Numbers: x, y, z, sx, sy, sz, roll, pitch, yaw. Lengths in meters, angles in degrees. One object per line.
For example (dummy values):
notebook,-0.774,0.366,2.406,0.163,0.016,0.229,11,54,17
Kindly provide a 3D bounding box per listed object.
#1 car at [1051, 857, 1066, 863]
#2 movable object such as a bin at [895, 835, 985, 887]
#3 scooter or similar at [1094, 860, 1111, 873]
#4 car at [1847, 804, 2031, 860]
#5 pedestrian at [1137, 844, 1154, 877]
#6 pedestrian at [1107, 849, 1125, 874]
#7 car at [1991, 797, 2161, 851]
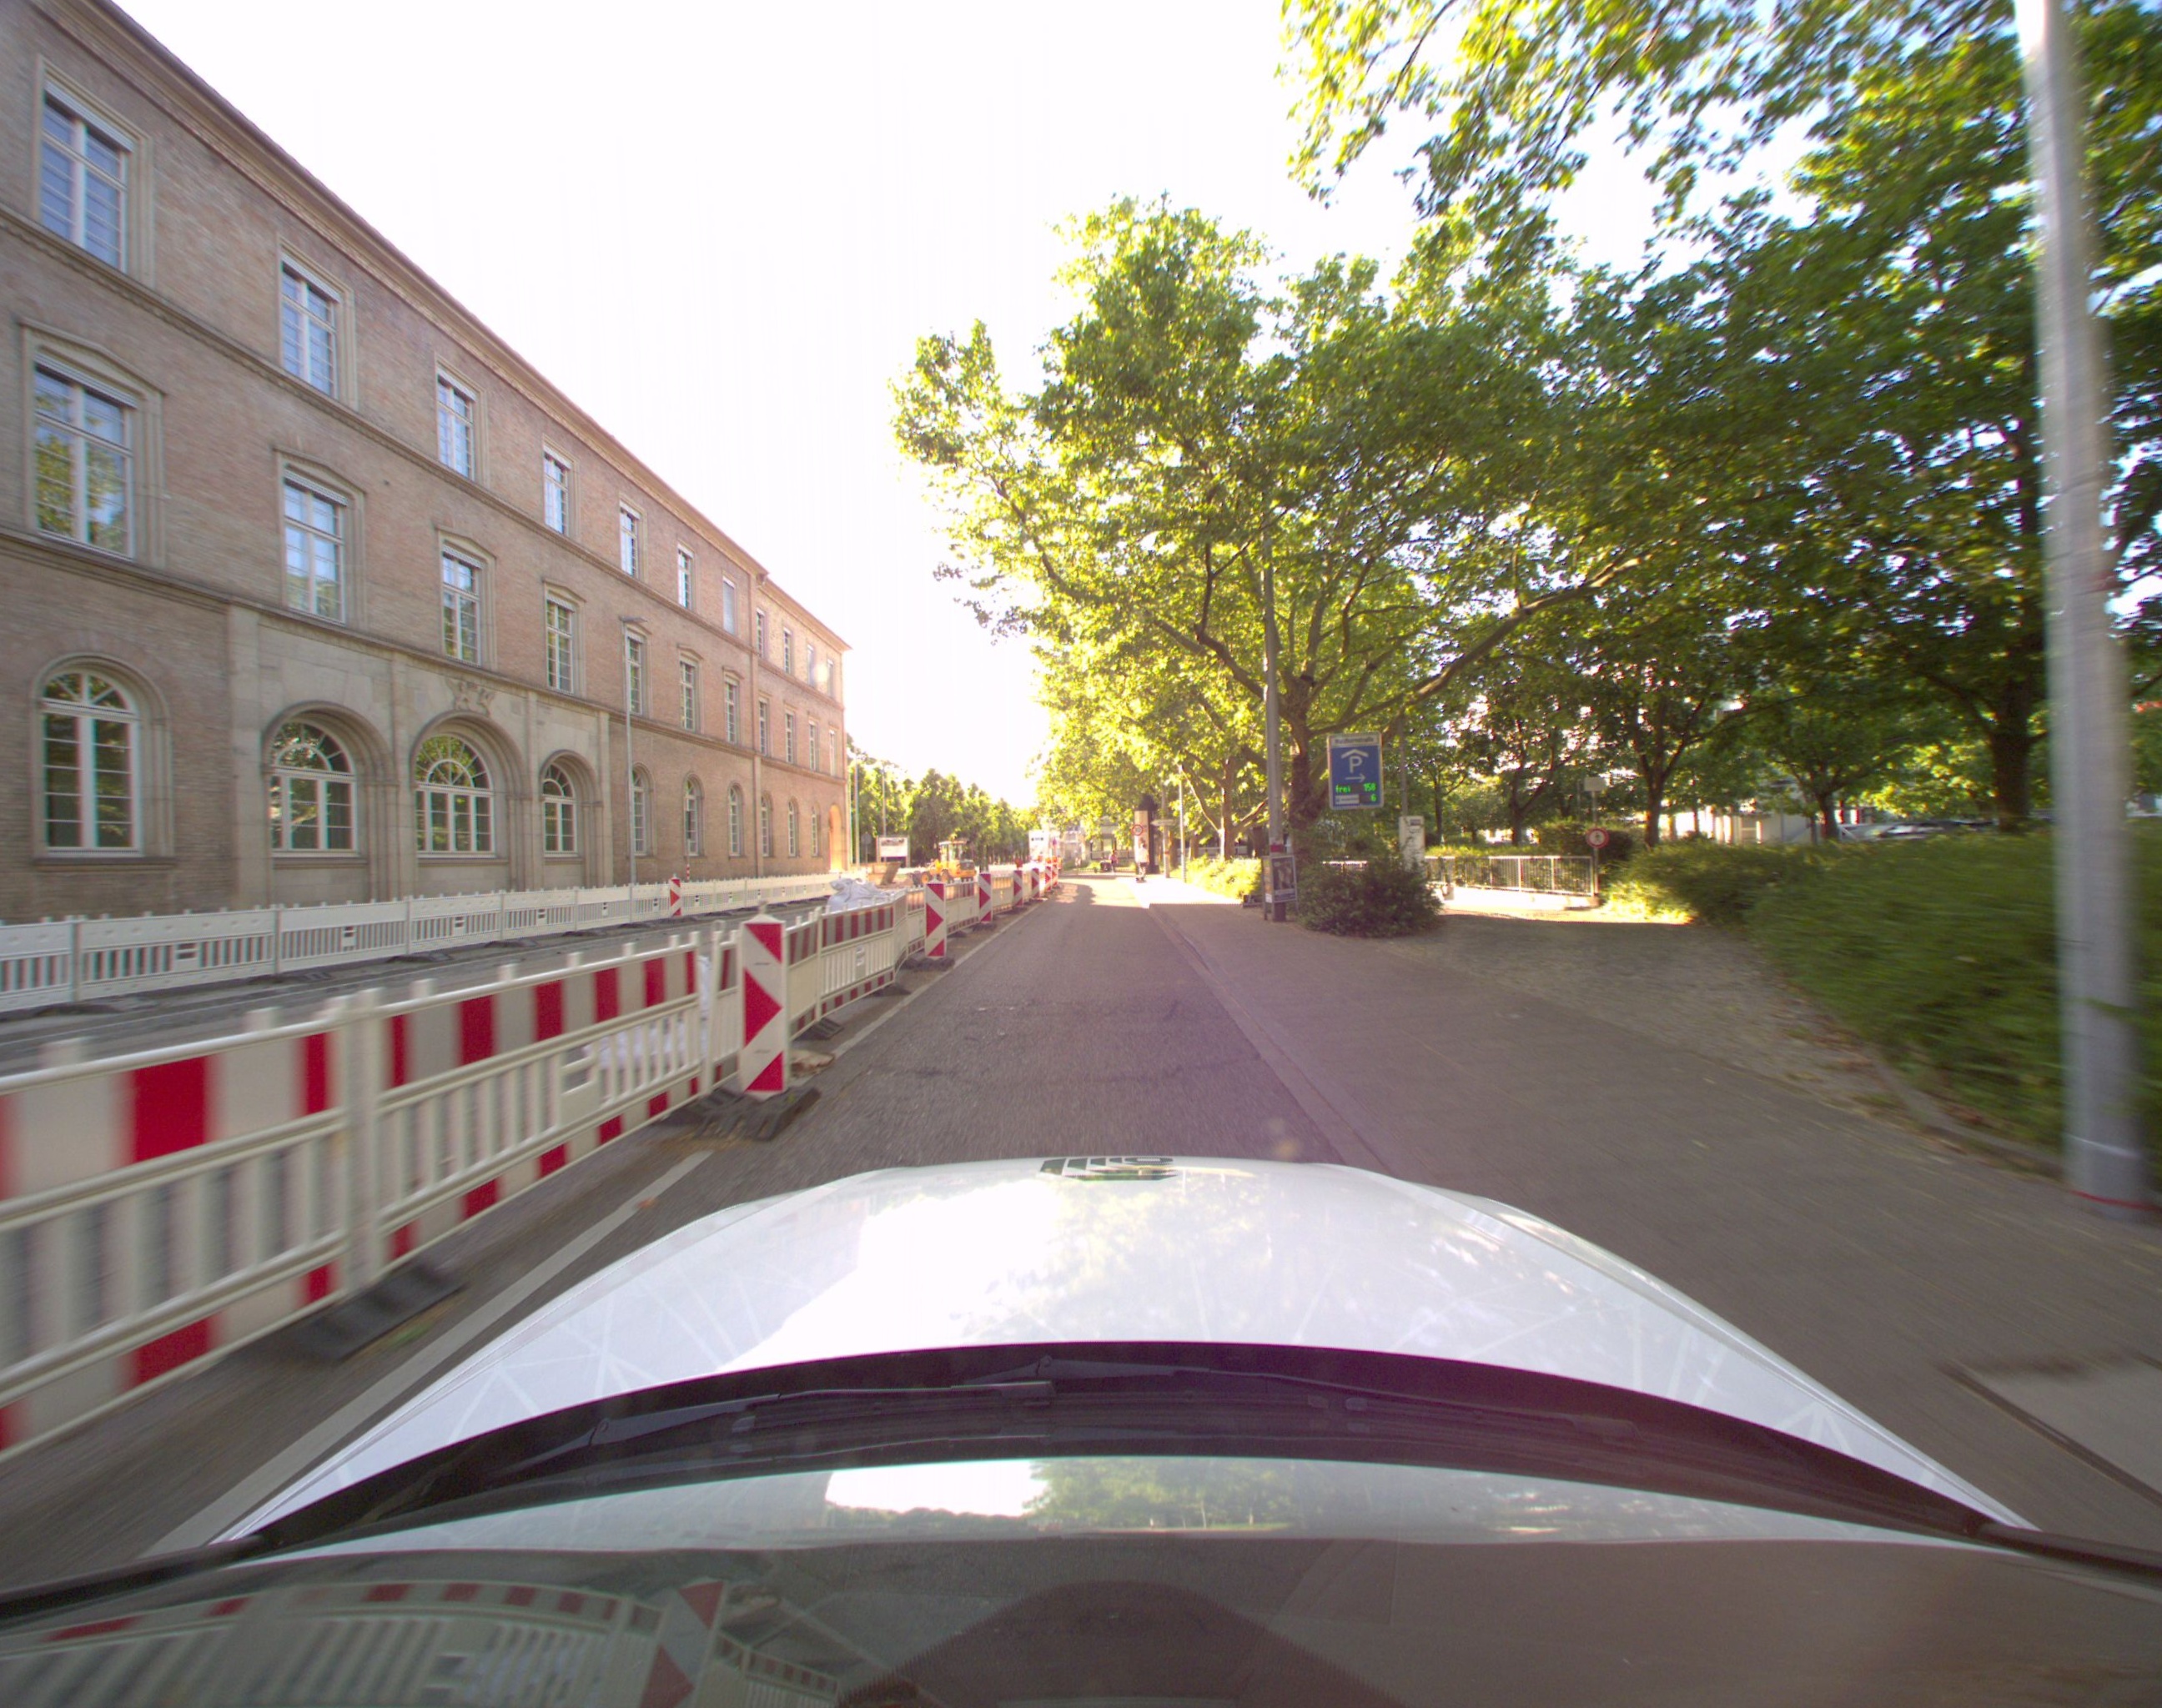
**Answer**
car,-6.727,1.849,246.821,4.543,1.790,2.000,-1,0,-1
movable object such as a bin,-9.026,0.479,51.717,5.857,3.031,2.582,-3,0,45
scooter or similar,1.612,0.906,59.997,1.145,0.914,0.418,-4,-1,-7
car,28.193,-0.668,26.975,1.754,1.626,3.995,-3,0,-3
pedestrian,3.590,0.363,45.563,0.743,1.812,1.132,-1,1,-3
pedestrian,2.303,0.498,53.085,0.713,1.623,0.930,-2,-1,-30
car,32.788,-0.942,26.673,1.542,1.626,4.002,-1,0,2
